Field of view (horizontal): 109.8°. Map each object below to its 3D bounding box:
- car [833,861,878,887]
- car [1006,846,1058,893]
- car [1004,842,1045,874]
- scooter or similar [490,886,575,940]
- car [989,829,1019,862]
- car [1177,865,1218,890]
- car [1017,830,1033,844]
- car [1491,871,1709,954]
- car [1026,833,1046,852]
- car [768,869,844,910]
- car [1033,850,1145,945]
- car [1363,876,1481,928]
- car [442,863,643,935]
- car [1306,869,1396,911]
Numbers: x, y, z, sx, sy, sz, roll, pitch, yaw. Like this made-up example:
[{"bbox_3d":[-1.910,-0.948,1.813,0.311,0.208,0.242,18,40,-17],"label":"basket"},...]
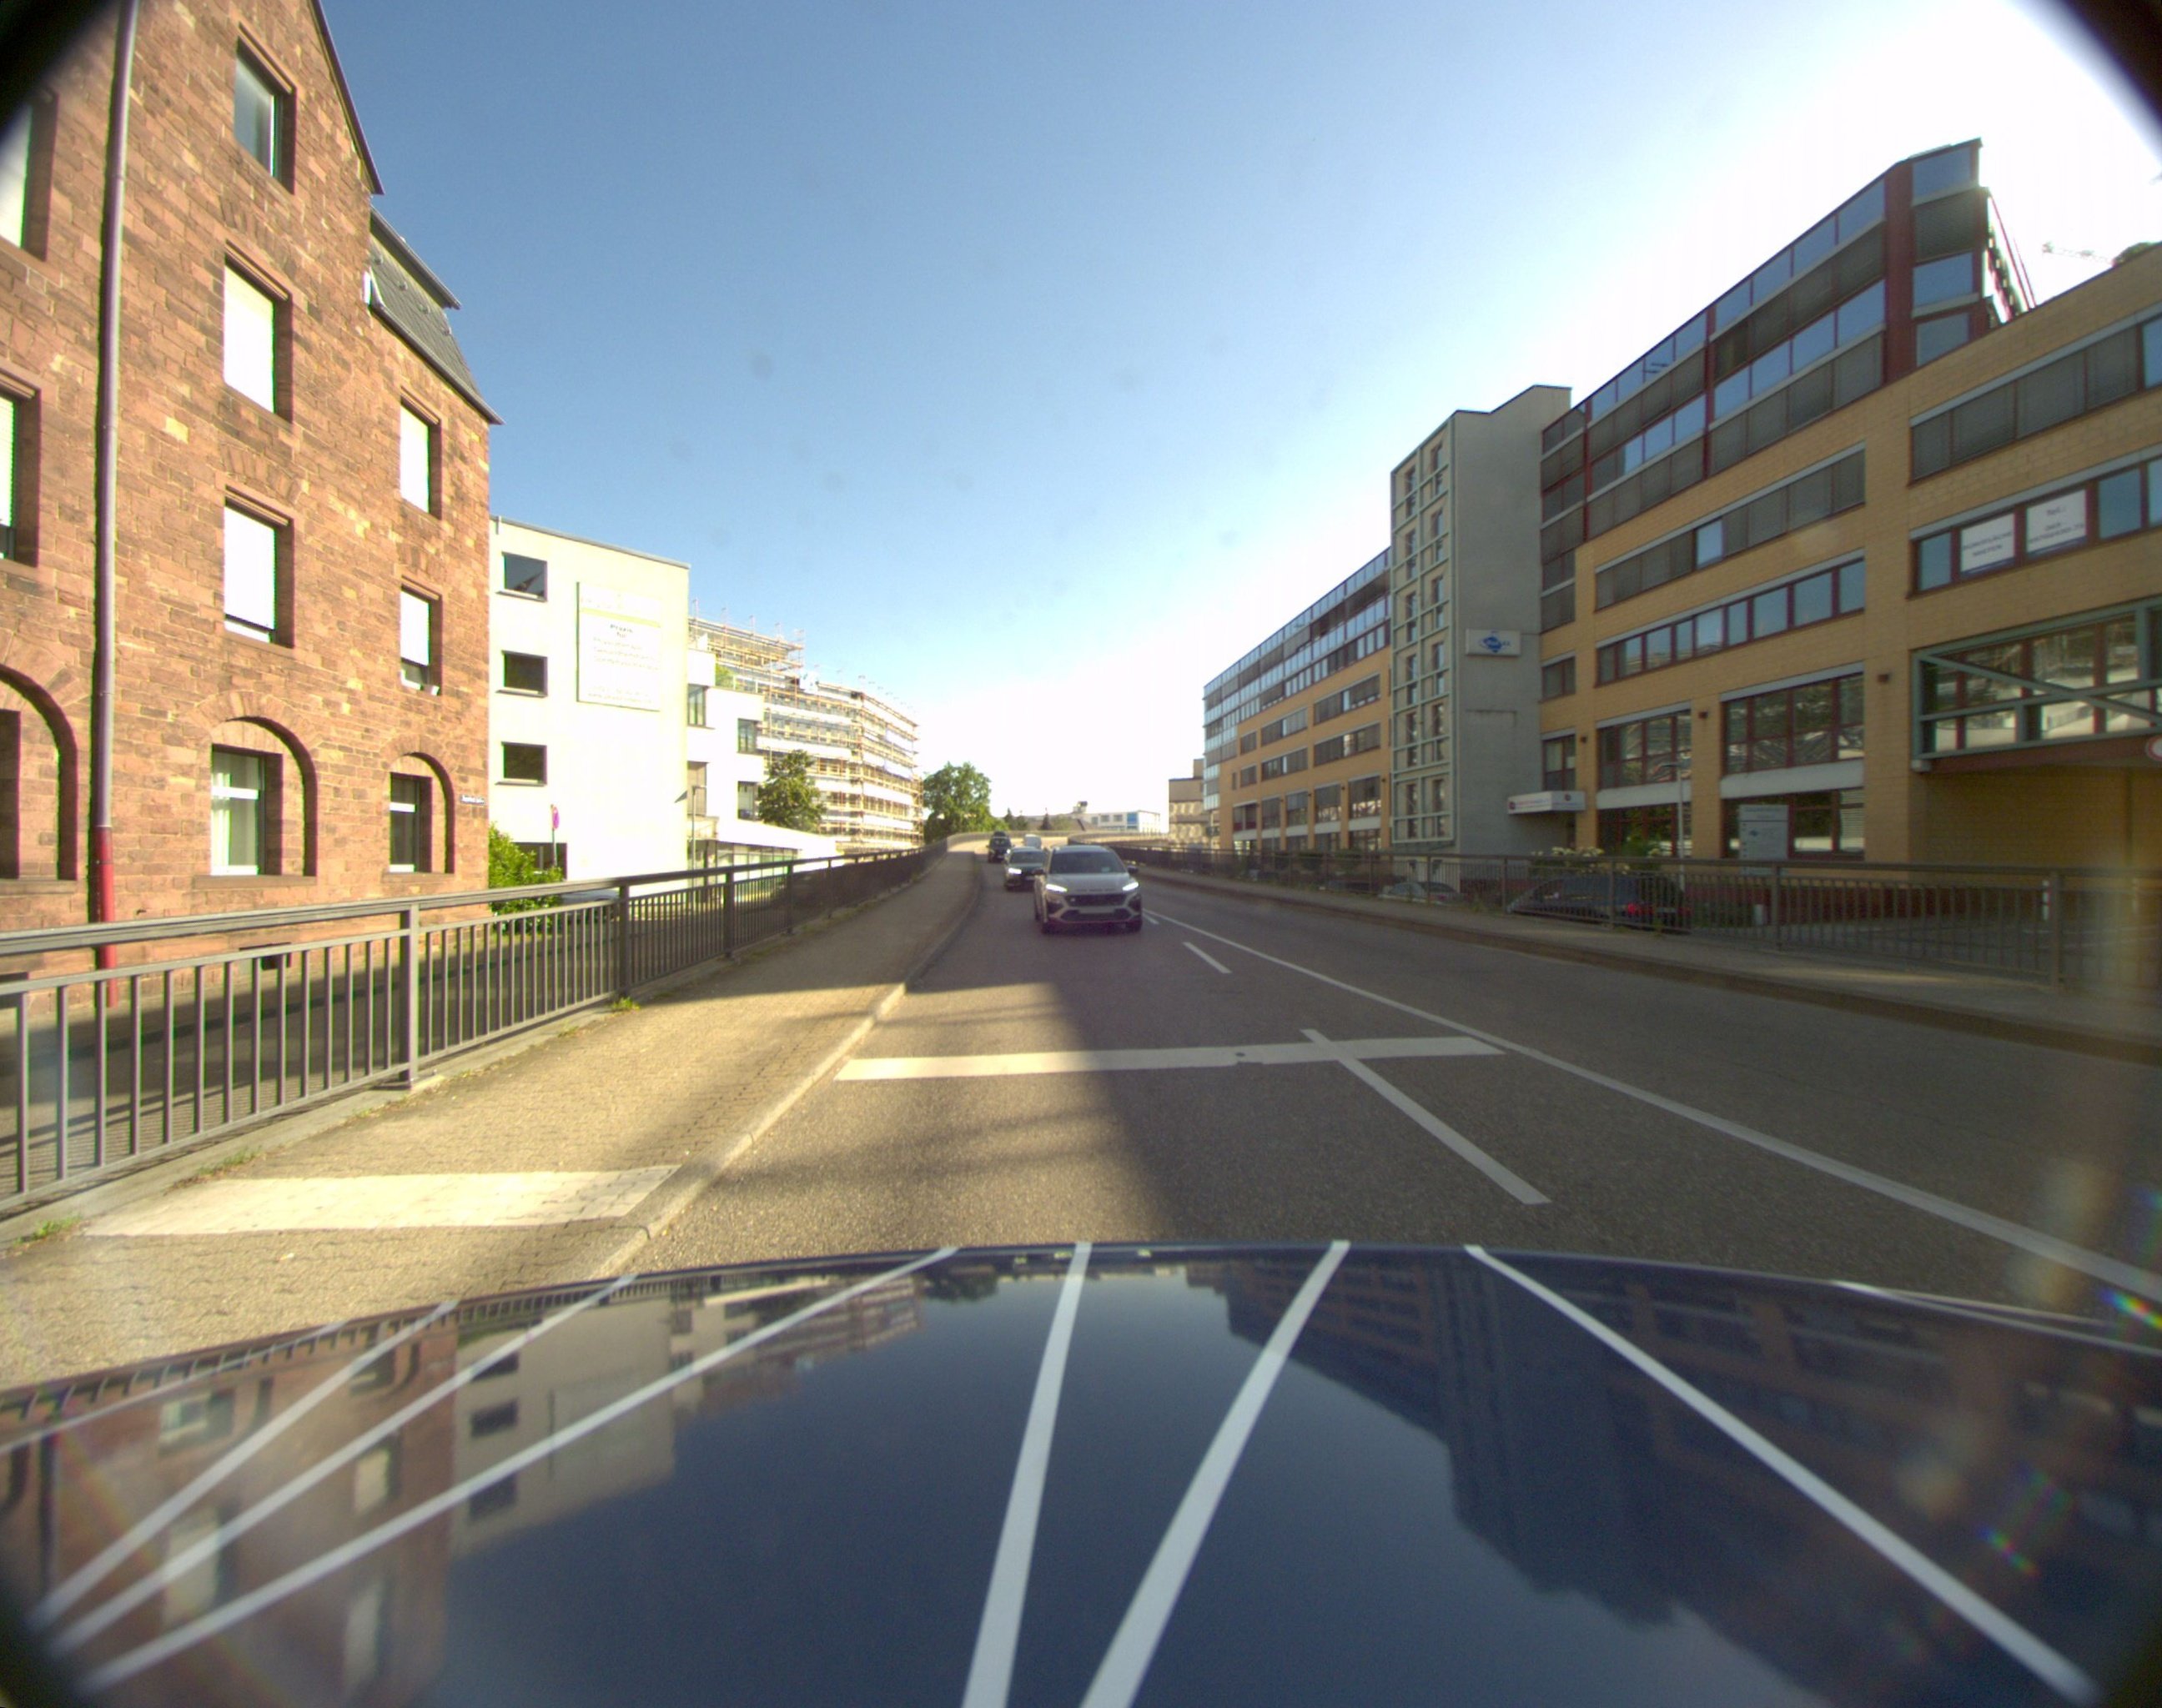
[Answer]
[{"bbox_3d":[-13.838,1.217,46.833,1.850,1.526,3.998,0,0,-5],"label":"car"},{"bbox_3d":[-1.828,0.495,27.753,1.722,1.483,4.166,-1,2,-5],"label":"car"},{"bbox_3d":[-3.065,0.153,40.463,1.850,1.527,4.504,-1,2,-8],"label":"car"},{"bbox_3d":[-13.556,1.440,18.831,1.463,1.212,0.784,-3,0,-12],"label":"scooter or similar"},{"bbox_3d":[-5.670,-0.688,55.407,1.911,2.202,4.592,-1,3,-9],"label":"car"},{"bbox_3d":[8.354,1.680,54.864,1.999,1.652,3.998,0,0,-5],"label":"car"},{"bbox_3d":[-6.737,-2.059,91.303,1.826,1.594,3.997,1,1,-6],"label":"car"},{"bbox_3d":[13.164,1.387,19.720,1.957,1.747,4.684,-1,0,-9],"label":"car"},{"bbox_3d":[-4.595,-1.136,76.395,1.815,1.791,5.118,0,0,-5],"label":"car"},{"bbox_3d":[-11.835,1.475,33.005,1.850,1.422,4.679,-1,2,-4],"label":"car"},{"bbox_3d":[0.019,0.733,15.059,1.850,1.561,4.219,-1,1,-4],"label":"car"},{"bbox_3d":[12.107,1.644,27.345,1.826,1.594,4.354,0,0,-8],"label":"car"},{"bbox_3d":[-16.121,1.260,22.938,1.823,1.757,4.658,1,2,44],"label":"car"},{"bbox_3d":[11.488,1.504,32.681,1.826,1.594,4.354,0,0,-8],"label":"car"}]
